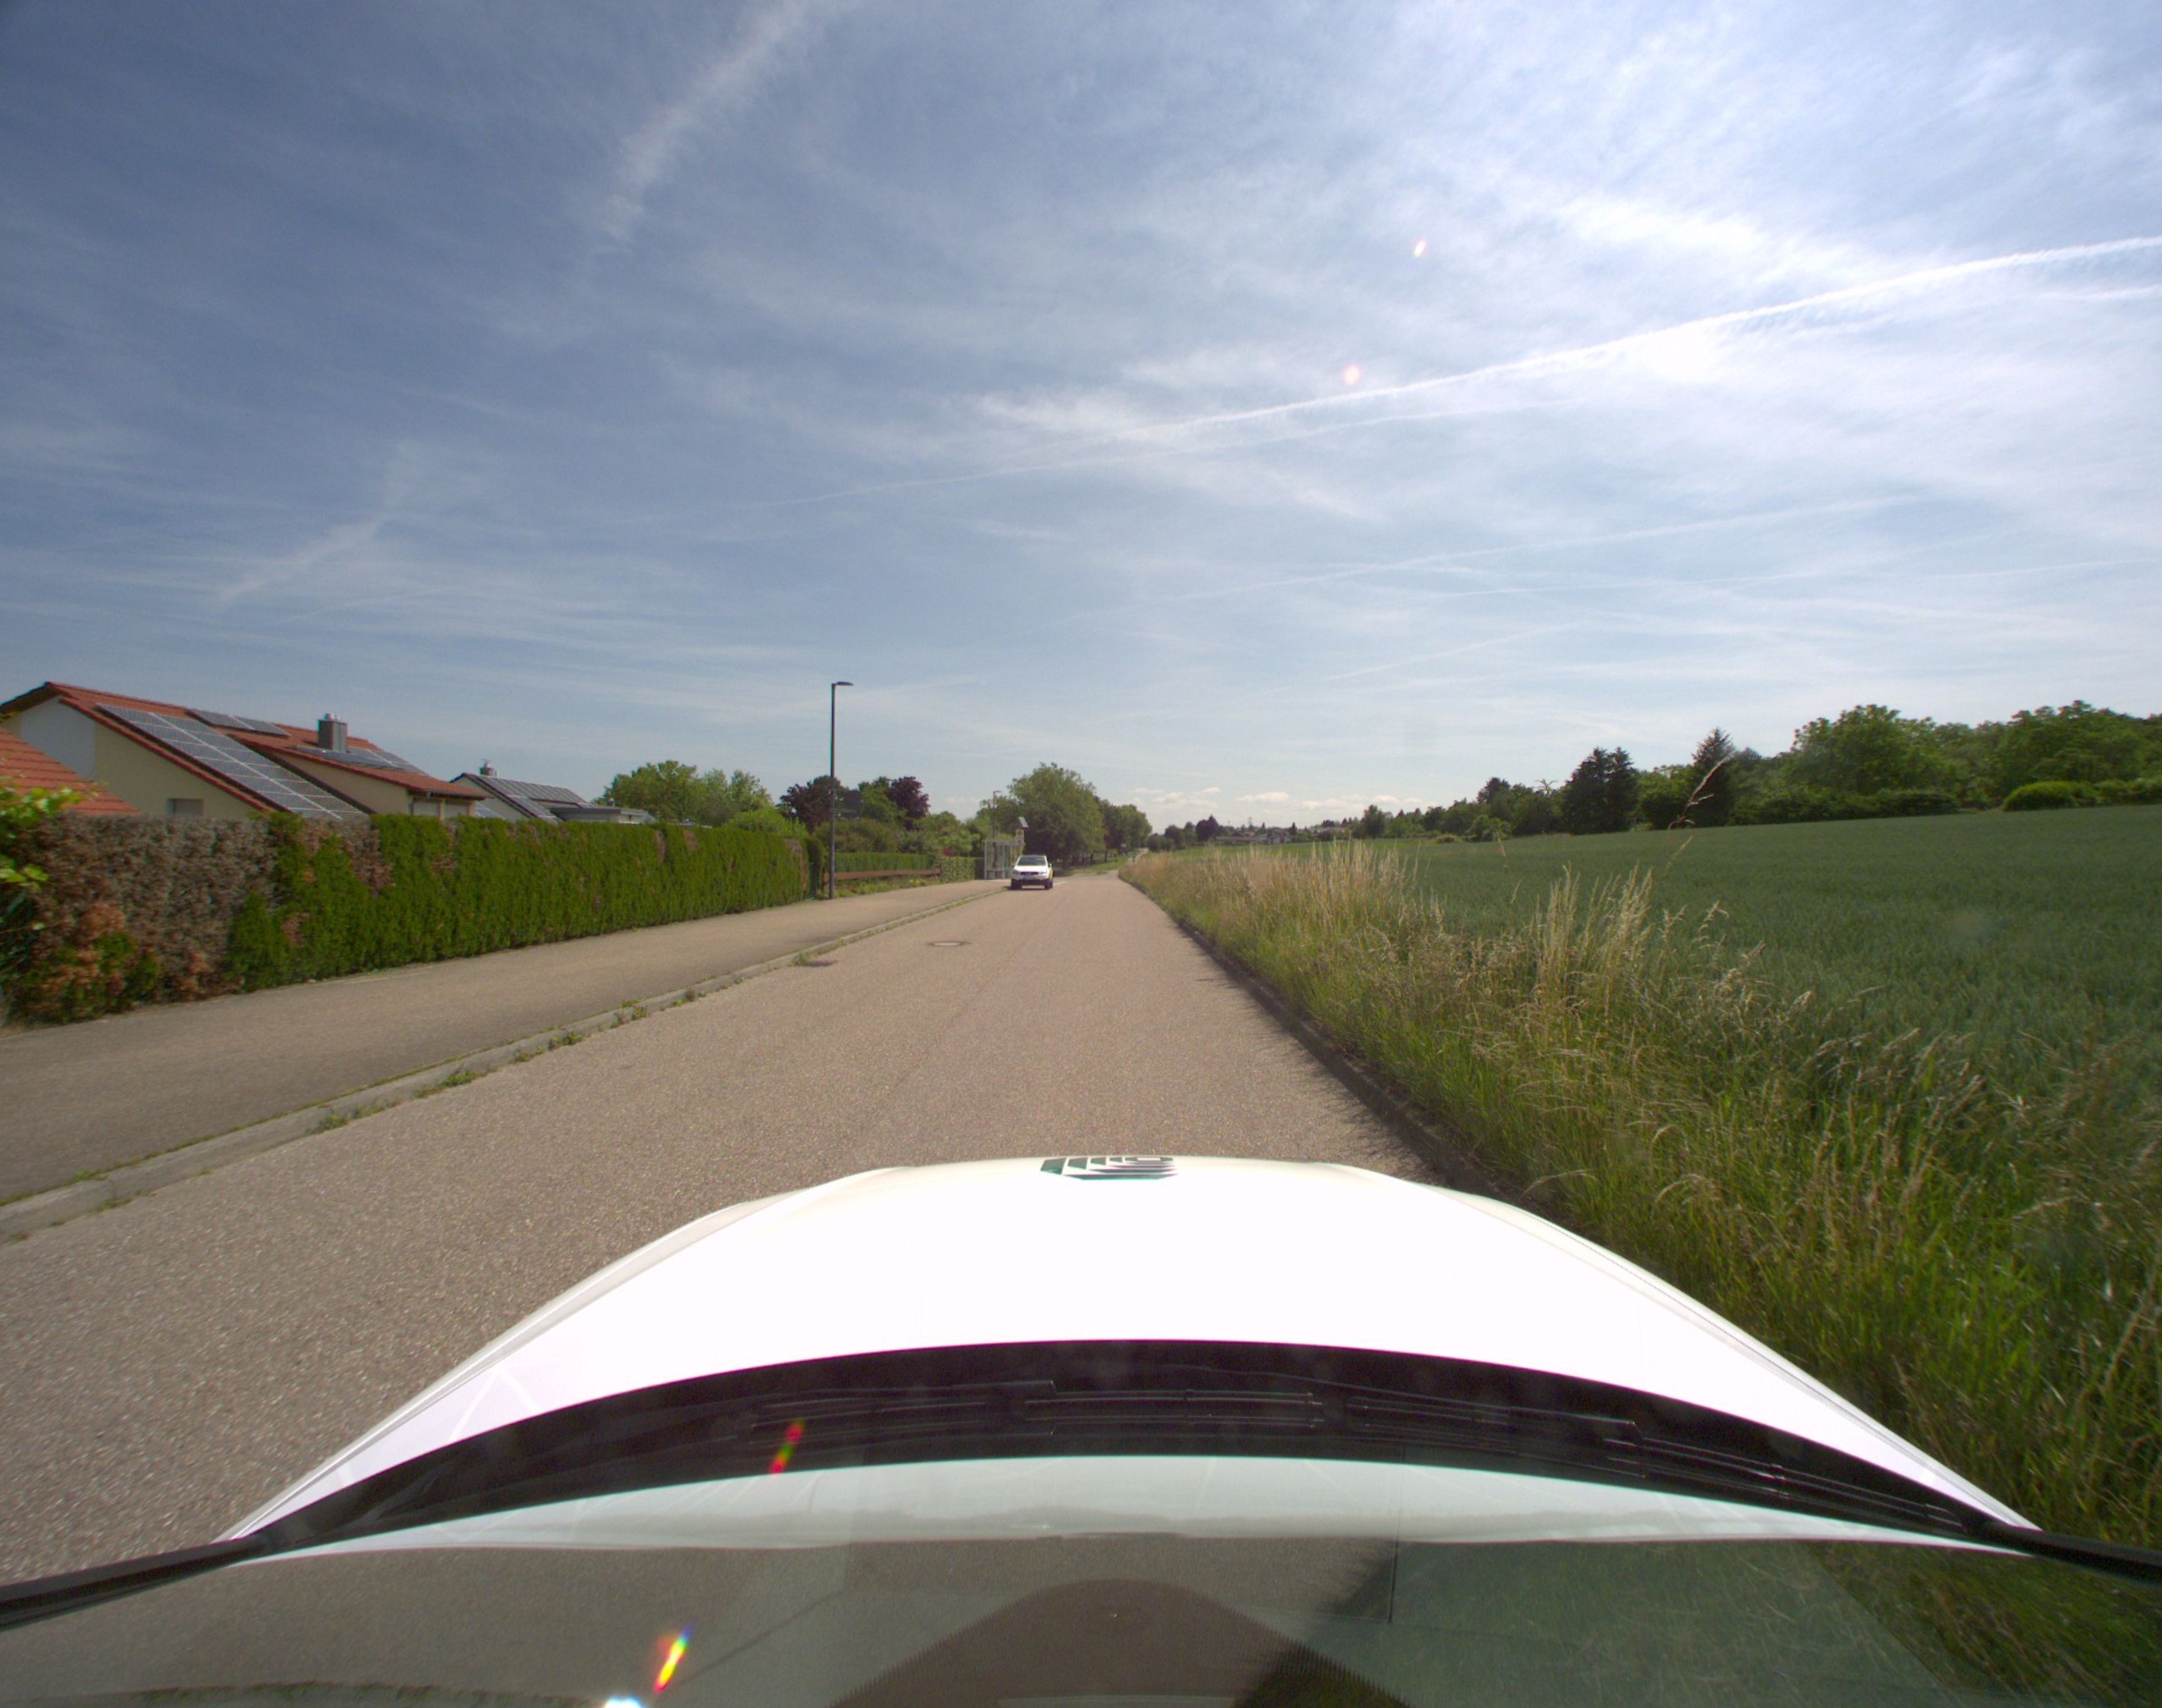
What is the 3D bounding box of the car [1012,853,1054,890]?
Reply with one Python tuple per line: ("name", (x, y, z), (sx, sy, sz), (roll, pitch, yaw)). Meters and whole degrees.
("car", (-2.246, 0.818, 39.080), (1.728, 1.633, 4.352), (0, -1, 1))
